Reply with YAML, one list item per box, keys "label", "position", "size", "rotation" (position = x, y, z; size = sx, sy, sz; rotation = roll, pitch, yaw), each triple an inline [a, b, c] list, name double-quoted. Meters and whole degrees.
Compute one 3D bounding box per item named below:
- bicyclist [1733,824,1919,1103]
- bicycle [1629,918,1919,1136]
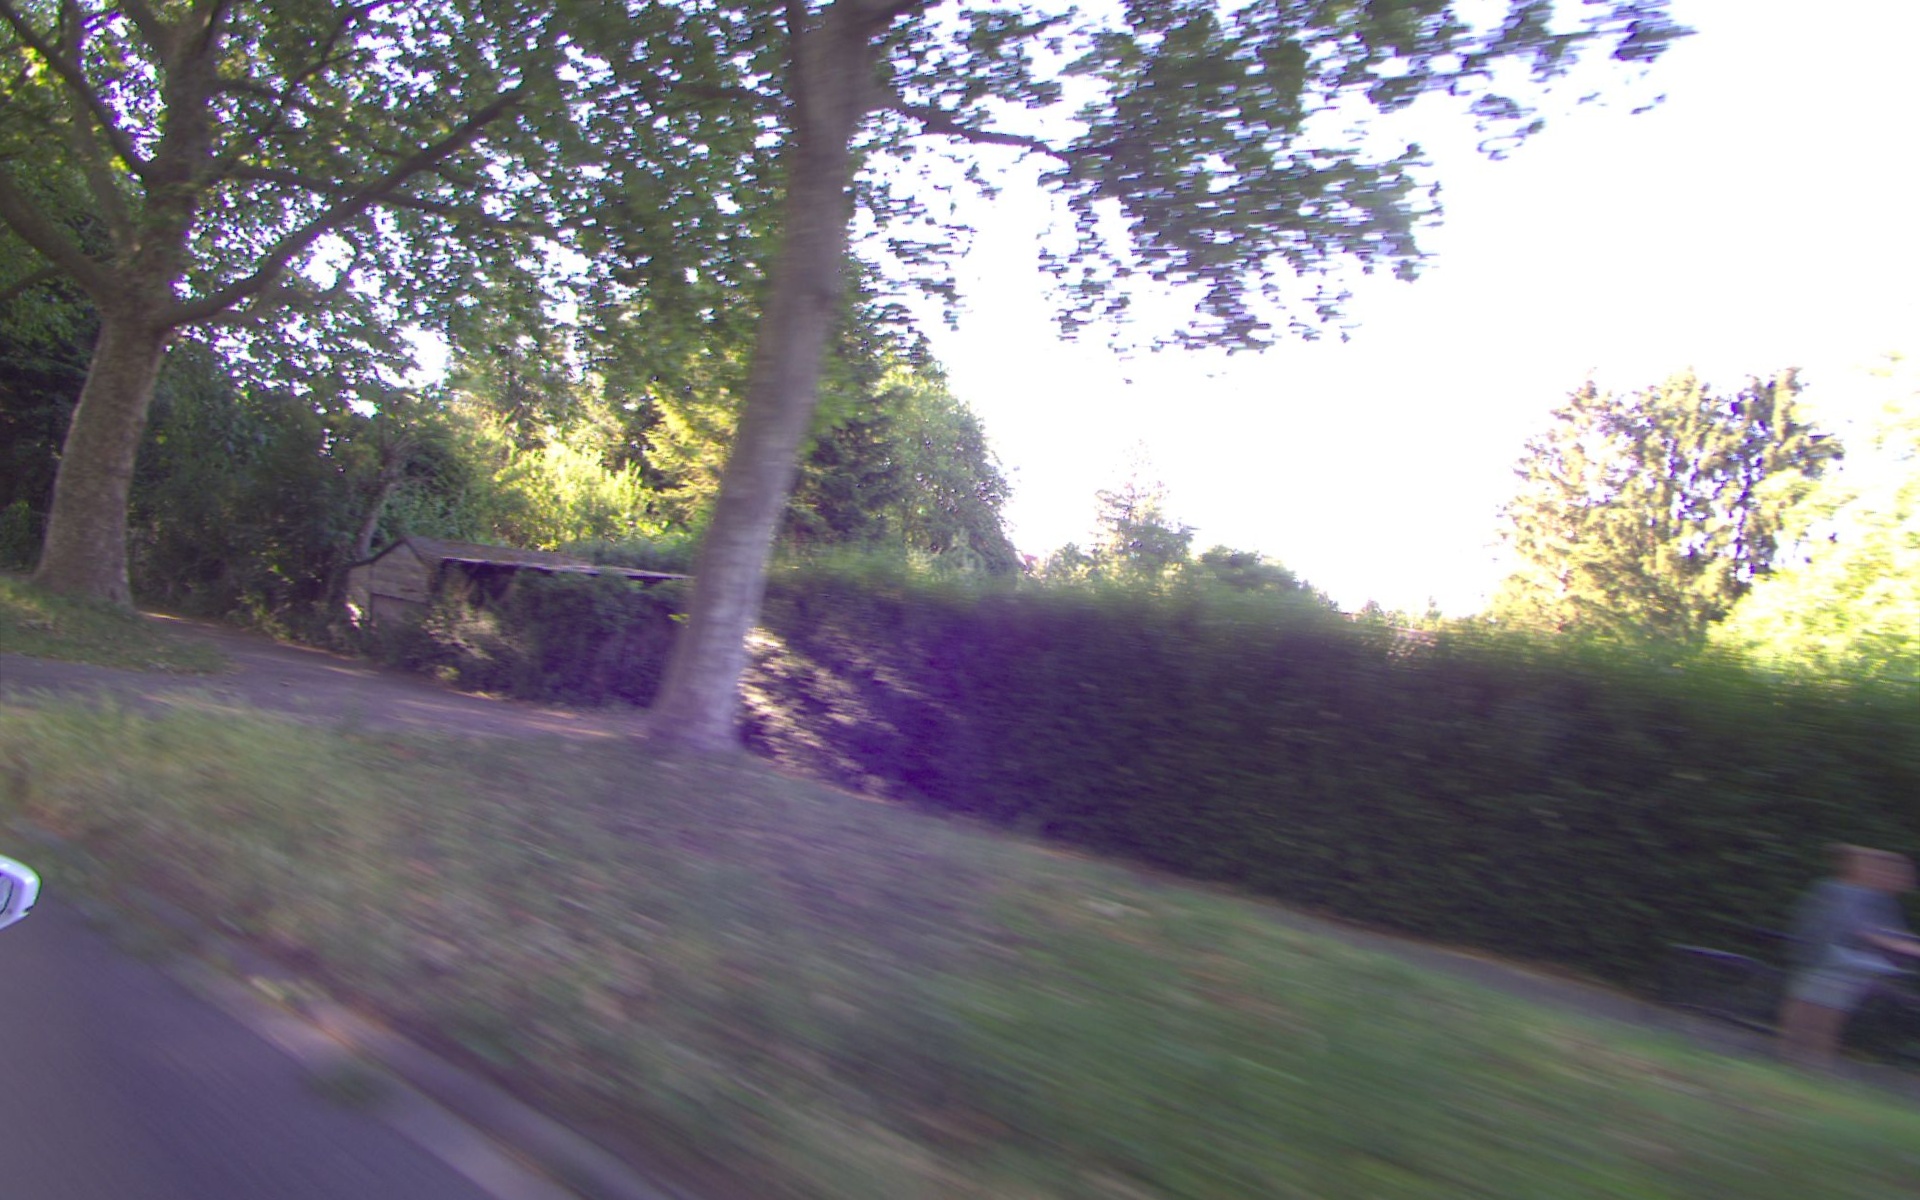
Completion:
- label: "bicyclist"
  position: [5.440, 2.202, 6.289]
  size: [0.758, 1.382, 0.735]
  rotation: [6, -1, 31]
- label: "bicycle"
  position: [5.359, 2.679, 6.291]
  size: [1.857, 0.826, 0.553]
  rotation: [6, -2, 31]
